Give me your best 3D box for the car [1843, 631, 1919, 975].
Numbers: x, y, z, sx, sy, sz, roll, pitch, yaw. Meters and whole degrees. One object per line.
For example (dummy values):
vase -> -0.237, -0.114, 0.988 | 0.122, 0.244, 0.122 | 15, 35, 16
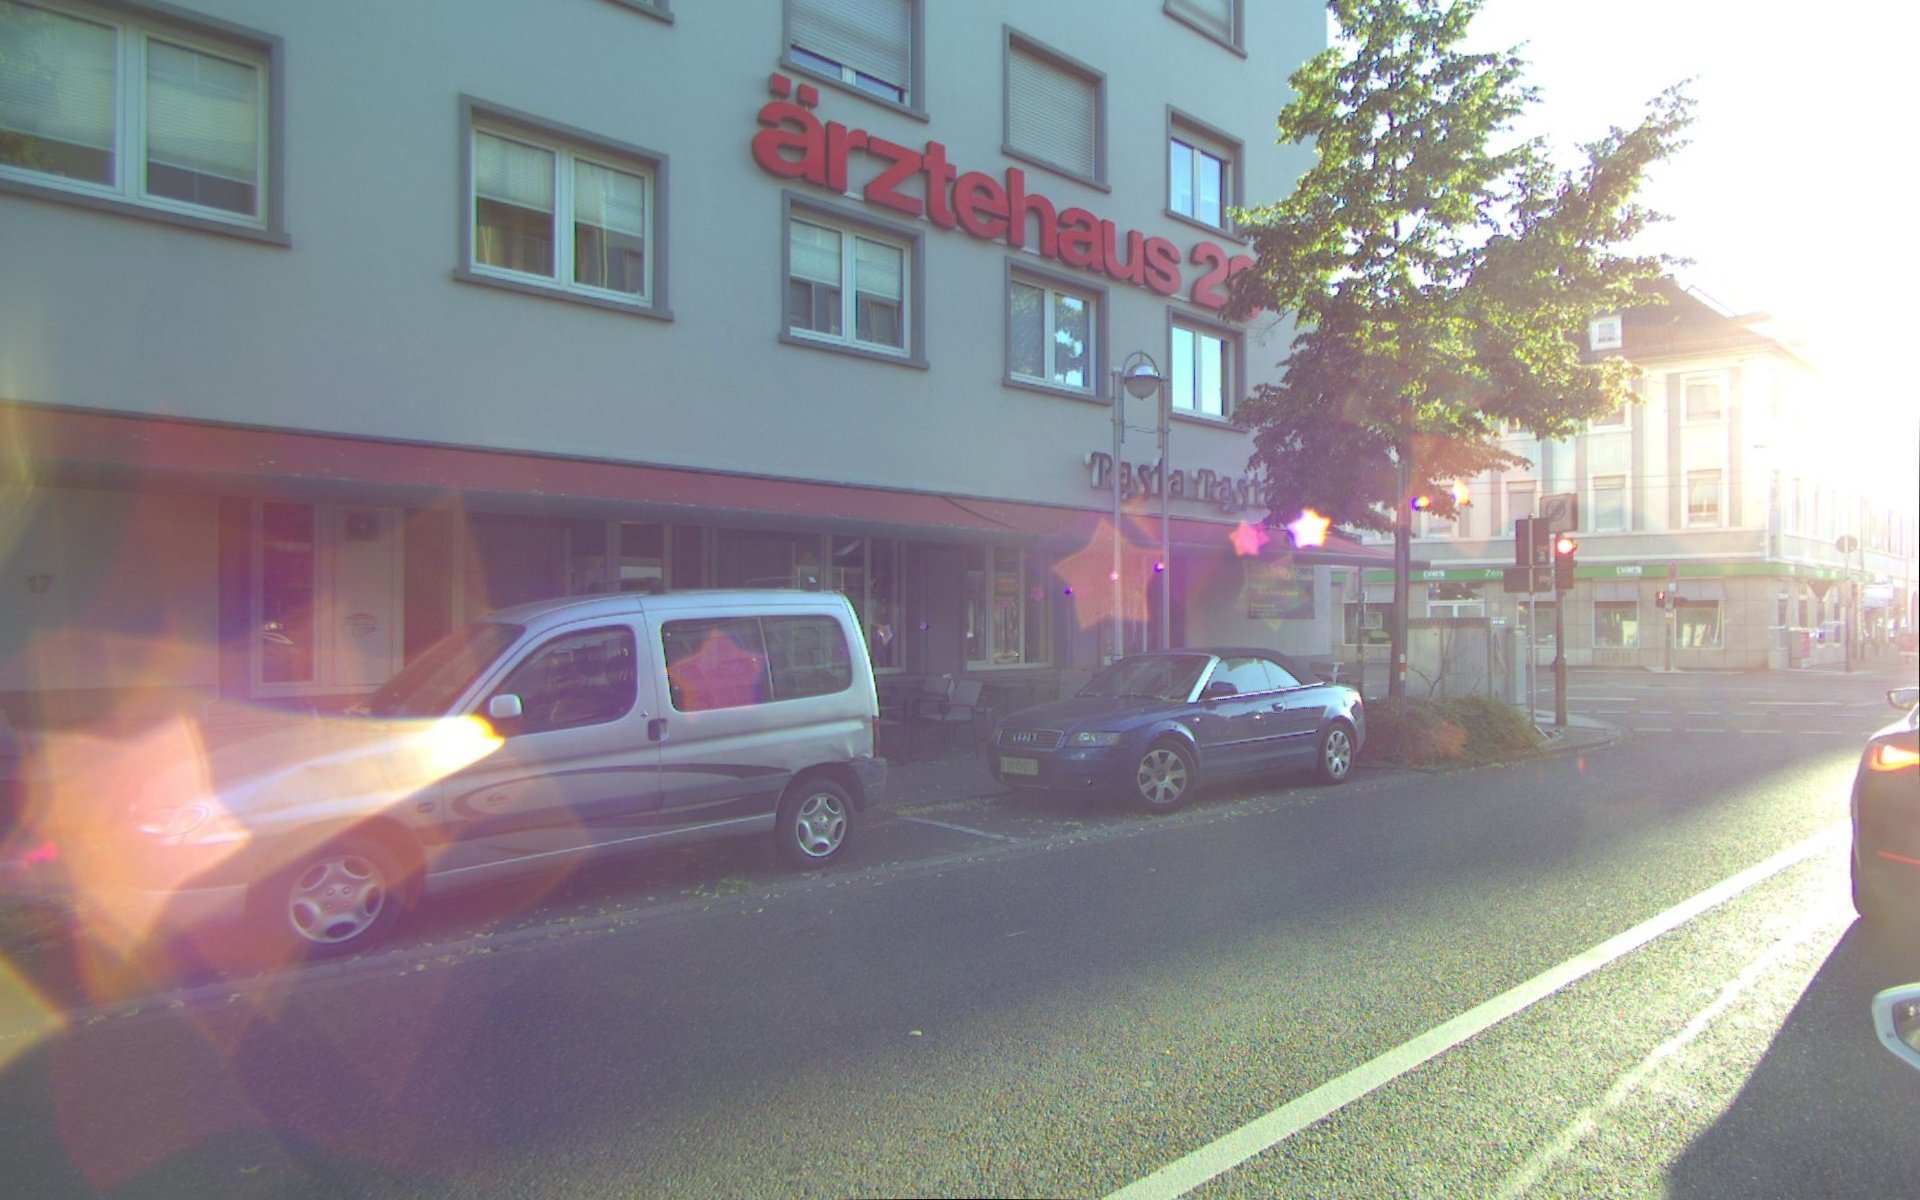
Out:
car -> 6.075, 0.906, 5.117 | 4.188, 1.447, 1.723 | 1, -1, -39

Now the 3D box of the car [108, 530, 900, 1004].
car -> -2.456, 0.757, 6.031 | 4.022, 1.912, 1.655 | 2, -4, -41

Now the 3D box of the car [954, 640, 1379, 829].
car -> 2.125, 1.126, 9.698 | 4.244, 1.434, 1.710 | 2, -4, -39

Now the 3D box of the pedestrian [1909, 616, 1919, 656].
pedestrian -> 45.693, 1.714, 47.808 | 0.612, 1.901, 0.671 | 1, 0, -38

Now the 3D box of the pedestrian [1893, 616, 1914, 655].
pedestrian -> 45.689, 1.715, 48.654 | 0.626, 1.901, 0.638 | 1, 0, -38
